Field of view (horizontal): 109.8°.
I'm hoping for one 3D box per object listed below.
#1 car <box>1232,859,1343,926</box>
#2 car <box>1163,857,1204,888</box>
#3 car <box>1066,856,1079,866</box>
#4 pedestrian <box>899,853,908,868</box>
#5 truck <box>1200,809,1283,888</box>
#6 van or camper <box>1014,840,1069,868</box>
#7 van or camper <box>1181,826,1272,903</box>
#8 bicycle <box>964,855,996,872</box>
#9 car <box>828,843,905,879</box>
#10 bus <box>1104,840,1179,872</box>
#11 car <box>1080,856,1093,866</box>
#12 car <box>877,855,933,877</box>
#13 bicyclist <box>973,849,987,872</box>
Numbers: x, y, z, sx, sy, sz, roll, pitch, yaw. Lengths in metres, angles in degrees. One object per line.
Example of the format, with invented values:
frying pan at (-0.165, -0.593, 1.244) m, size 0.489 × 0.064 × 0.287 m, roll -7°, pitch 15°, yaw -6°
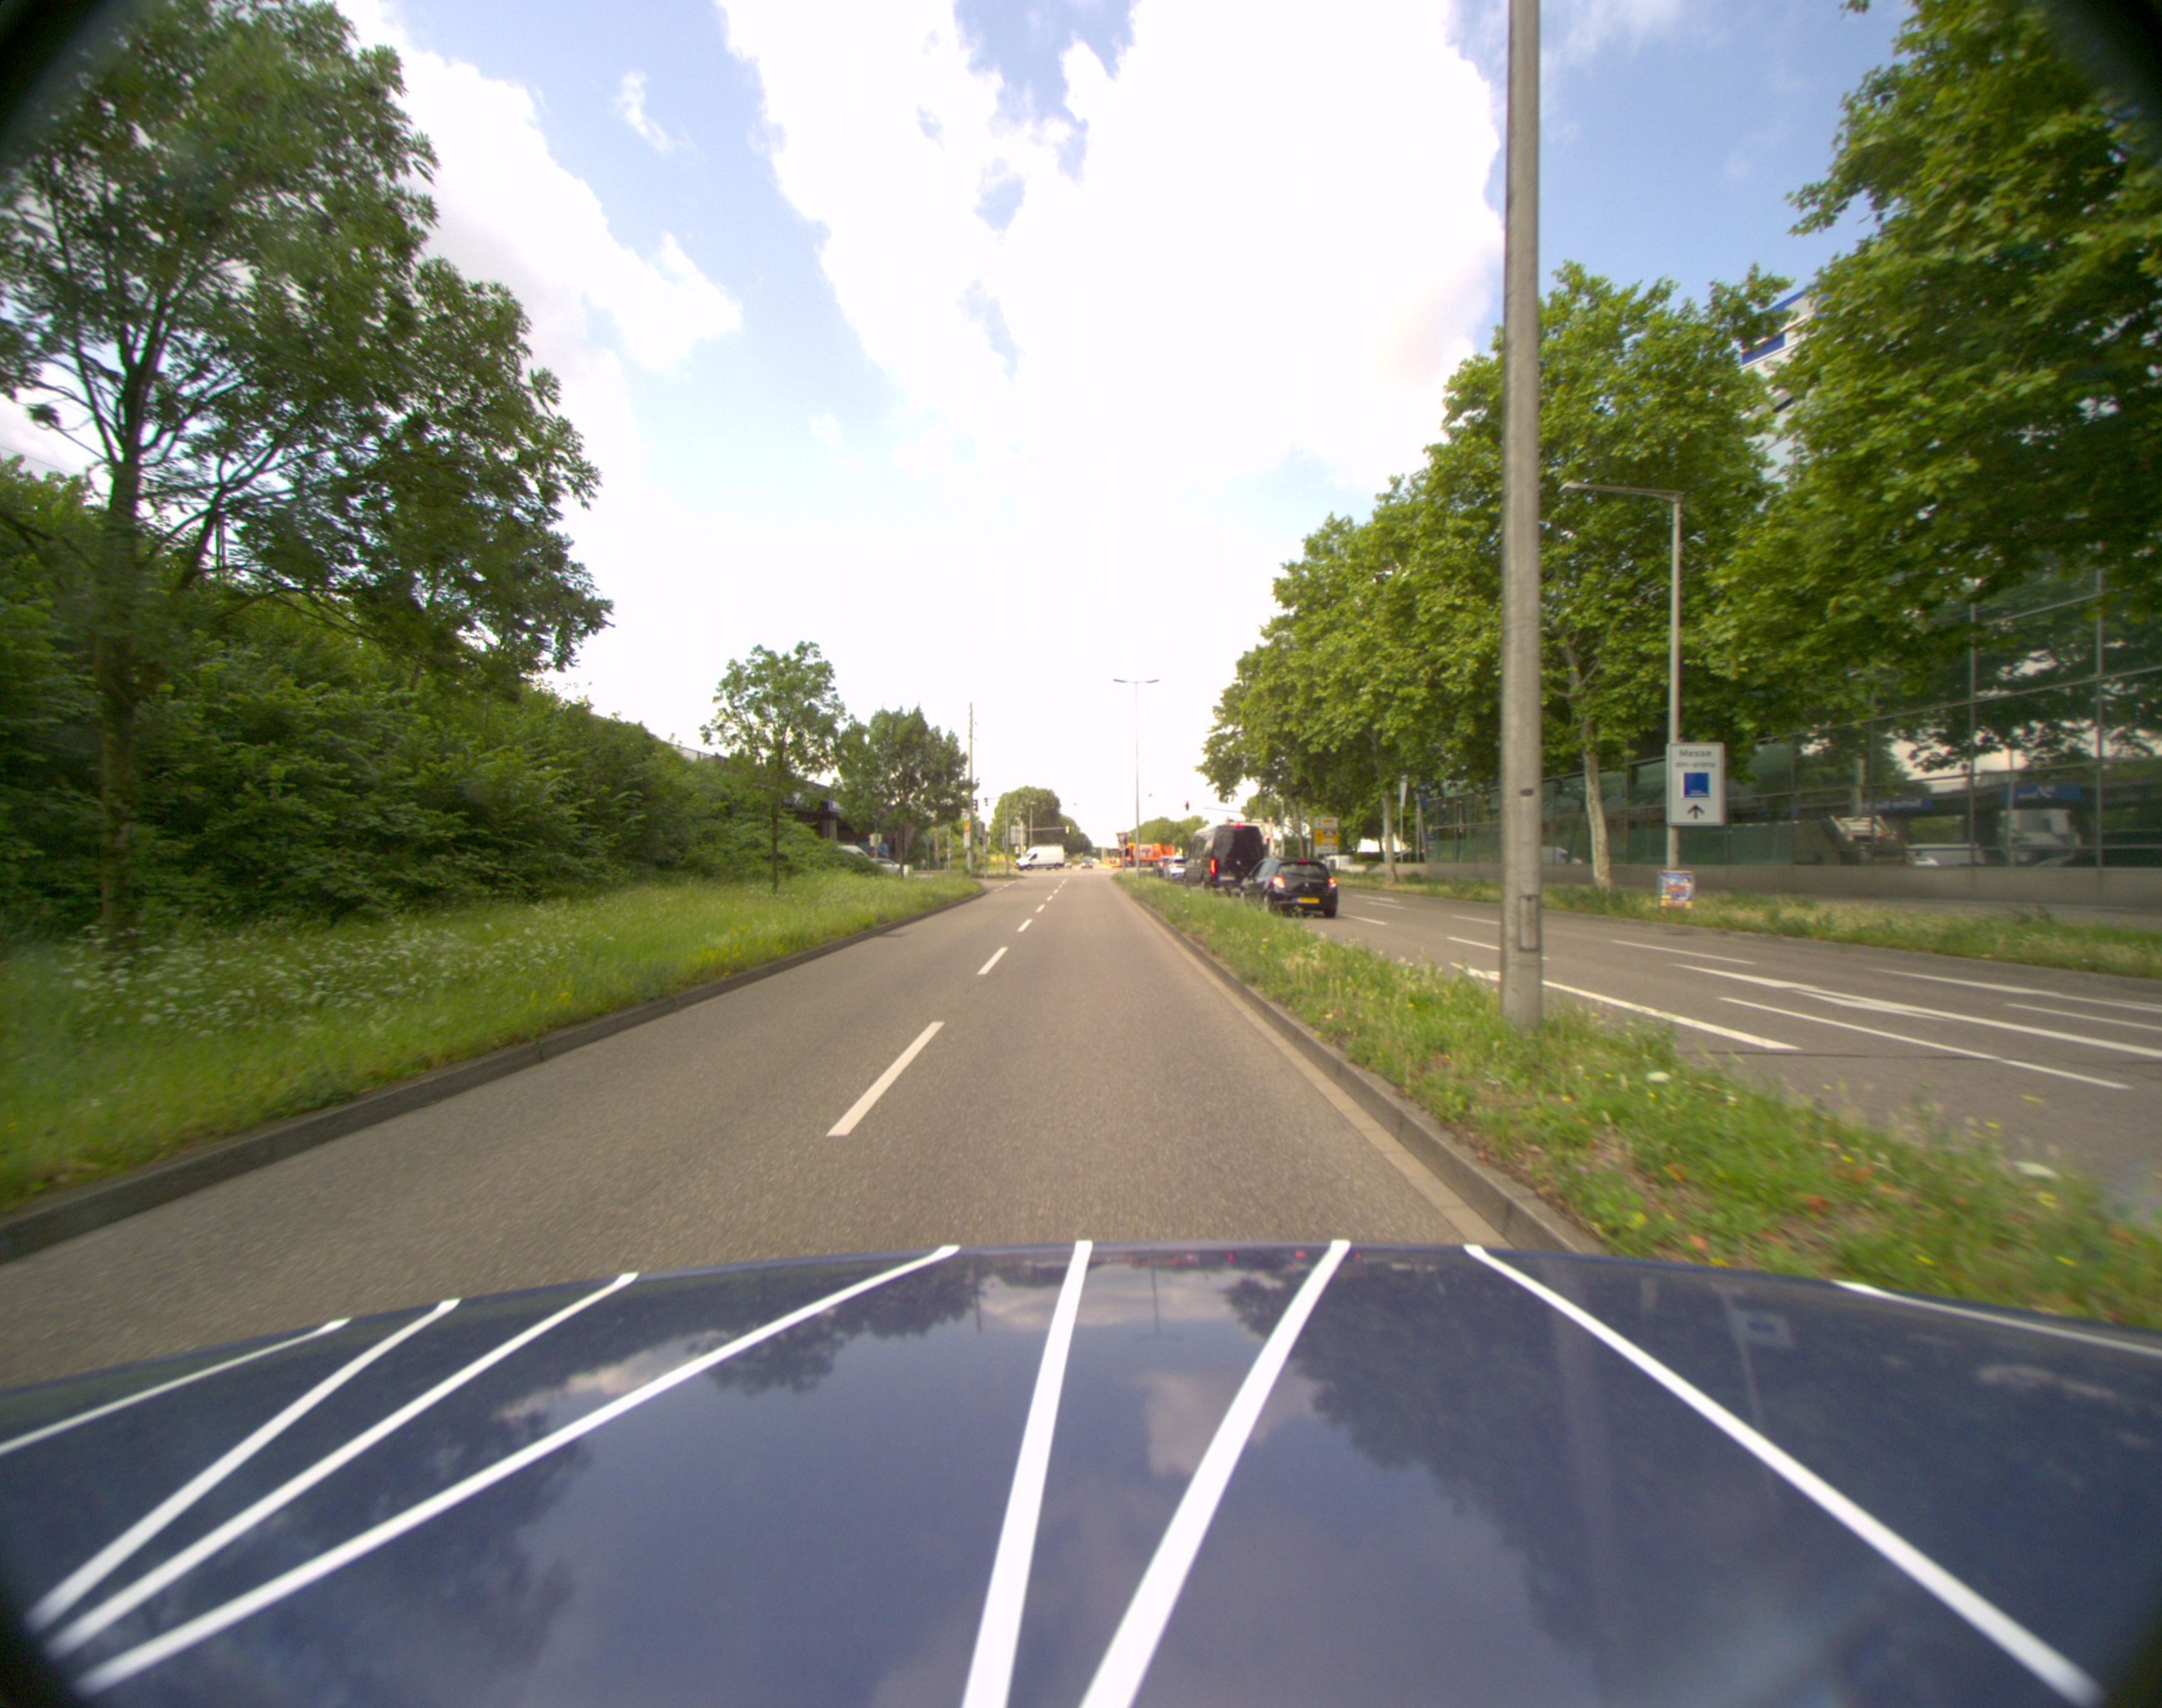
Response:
car at (5.188, 0.907, 19.578) m, size 1.698 × 1.456 × 3.939 m, roll 0°, pitch 1°, yaw -1°
car at (5.684, 0.967, 42.587) m, size 1.749 × 1.544 × 4.233 m, roll 1°, pitch 1°, yaw 1°
car at (-1.276, 1.087, 115.014) m, size 1.716 × 1.477 × 4.000 m, roll -1°, pitch 0°, yaw 1°
pedestrian at (-20.289, 0.733, 86.847) m, size 0.608 × 1.642 × 0.693 m, roll 0°, pitch 5°, yaw 20°
truck at (8.747, -0.267, 42.693) m, size 2.656 × 3.865 × 10.160 m, roll 1°, pitch 0°, yaw 1°
van or camper at (-4.526, -0.043, 87.699) m, size 5.975 × 2.771 × 2.158 m, roll -4°, pitch 5°, yaw -36°
van or camper at (5.513, 0.338, 29.806) m, size 2.110 × 2.644 × 6.715 m, roll 0°, pitch 1°, yaw -2°
bicycle at (-7.769, 0.735, 58.528) m, size 2.321 × 1.088 × 0.843 m, roll -3°, pitch 5°, yaw -27°
car at (-17.828, 0.516, 63.321) m, size 5.634 × 2.514 × 2.258 m, roll -4°, pitch 6°, yaw -34°
bus at (8.046, 0.224, 100.000) m, size 10.410 × 3.448 × 2.738 m, roll -4°, pitch 5°, yaw -35°
car at (0.834, 1.064, 115.359) m, size 1.820 × 1.477 × 4.000 m, roll -1°, pitch 0°, yaw 1°
car at (-14.296, 0.944, 61.695) m, size 4.006 × 1.469 × 1.703 m, roll -4°, pitch 4°, yaw -36°
bicyclist at (-7.775, 0.516, 58.518) m, size 0.824 × 1.670 × 0.843 m, roll -3°, pitch 5°, yaw -27°
